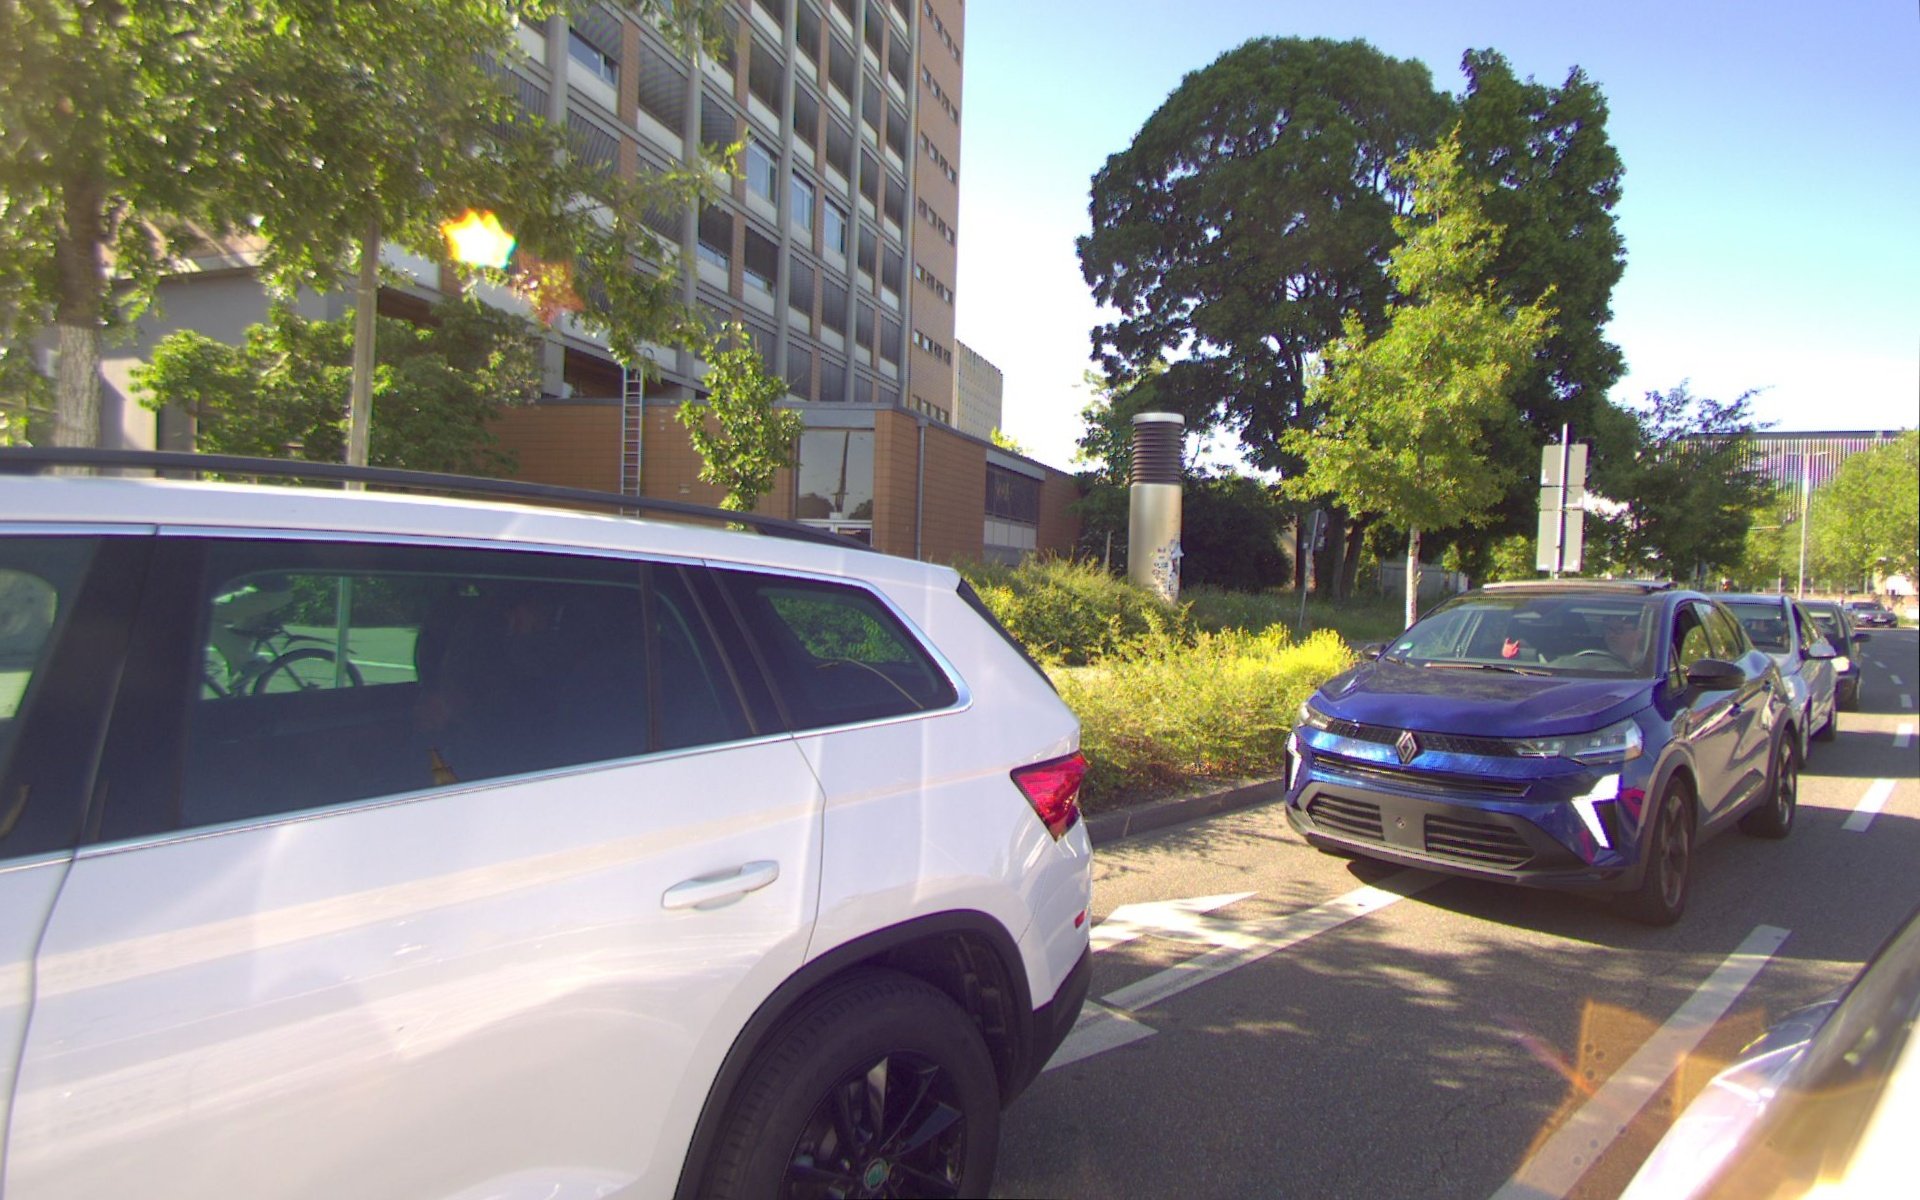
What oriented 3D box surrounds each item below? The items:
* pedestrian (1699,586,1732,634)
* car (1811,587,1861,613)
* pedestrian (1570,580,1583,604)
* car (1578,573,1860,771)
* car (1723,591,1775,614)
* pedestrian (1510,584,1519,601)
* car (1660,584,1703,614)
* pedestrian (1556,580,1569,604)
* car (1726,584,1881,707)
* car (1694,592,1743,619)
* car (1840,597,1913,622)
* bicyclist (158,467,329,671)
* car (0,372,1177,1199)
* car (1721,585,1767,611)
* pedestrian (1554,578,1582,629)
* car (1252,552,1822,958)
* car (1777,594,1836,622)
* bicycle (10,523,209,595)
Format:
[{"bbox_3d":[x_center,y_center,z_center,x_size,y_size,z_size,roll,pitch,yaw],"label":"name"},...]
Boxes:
[{"bbox_3d":[26.209,0.331,35.128,0.679,1.624,0.662,1,1,-30],"label":"pedestrian"},{"bbox_3d":[58.167,-0.001,67.275,1.578,1.625,3.048,2,1,23],"label":"car"},{"bbox_3d":[50.325,-0.636,82.629,0.812,1.941,0.766,0,0,23],"label":"pedestrian"},{"bbox_3d":[8.087,0.597,10.641,3.977,1.645,1.782,0,2,-45],"label":"car"},{"bbox_3d":[53.000,0.163,68.069,1.862,1.500,3.967,1,1,24],"label":"car"},{"bbox_3d":[62.969,-0.848,114.896,0.812,1.941,0.766,0,0,23],"label":"pedestrian"},{"bbox_3d":[48.963,-0.094,68.745,1.811,1.876,3.716,2,1,27],"label":"car"},{"bbox_3d":[49.620,-0.642,83.324,0.812,1.941,0.766,0,0,23],"label":"pedestrian"},{"bbox_3d":[13.113,0.613,15.671,1.646,1.631,3.435,3,2,43],"label":"car"},{"bbox_3d":[43.727,0.308,58.409,1.737,1.494,3.539,0,1,28],"label":"car"},{"bbox_3d":[51.066,0.501,56.449,1.566,1.219,3.974,2,1,20],"label":"car"},{"bbox_3d":[-4.946,-0.220,6.985,0.891,1.294,0.722,1,3,-41],"label":"bicyclist"},{"bbox_3d":[-1.618,0.565,1.657,4.223,1.662,1.697,0,2,-42],"label":"car"},{"bbox_3d":[62.623,-0.174,80.922,1.767,2.039,4.201,1,1,22],"label":"car"},{"bbox_3d":[19.544,0.106,32.540,0.688,1.624,0.653,2,1,35],"label":"pedestrian"},{"bbox_3d":[3.620,0.607,6.015,4.012,1.626,1.704,0,1,-41],"label":"car"},{"bbox_3d":[45.087,0.389,53.976,1.737,1.396,3.538,1,1,29],"label":"car"},{"bbox_3d":[-17.538,-0.816,21.011,0.790,1.394,3.111,2,1,26],"label":"bicycle"}]
